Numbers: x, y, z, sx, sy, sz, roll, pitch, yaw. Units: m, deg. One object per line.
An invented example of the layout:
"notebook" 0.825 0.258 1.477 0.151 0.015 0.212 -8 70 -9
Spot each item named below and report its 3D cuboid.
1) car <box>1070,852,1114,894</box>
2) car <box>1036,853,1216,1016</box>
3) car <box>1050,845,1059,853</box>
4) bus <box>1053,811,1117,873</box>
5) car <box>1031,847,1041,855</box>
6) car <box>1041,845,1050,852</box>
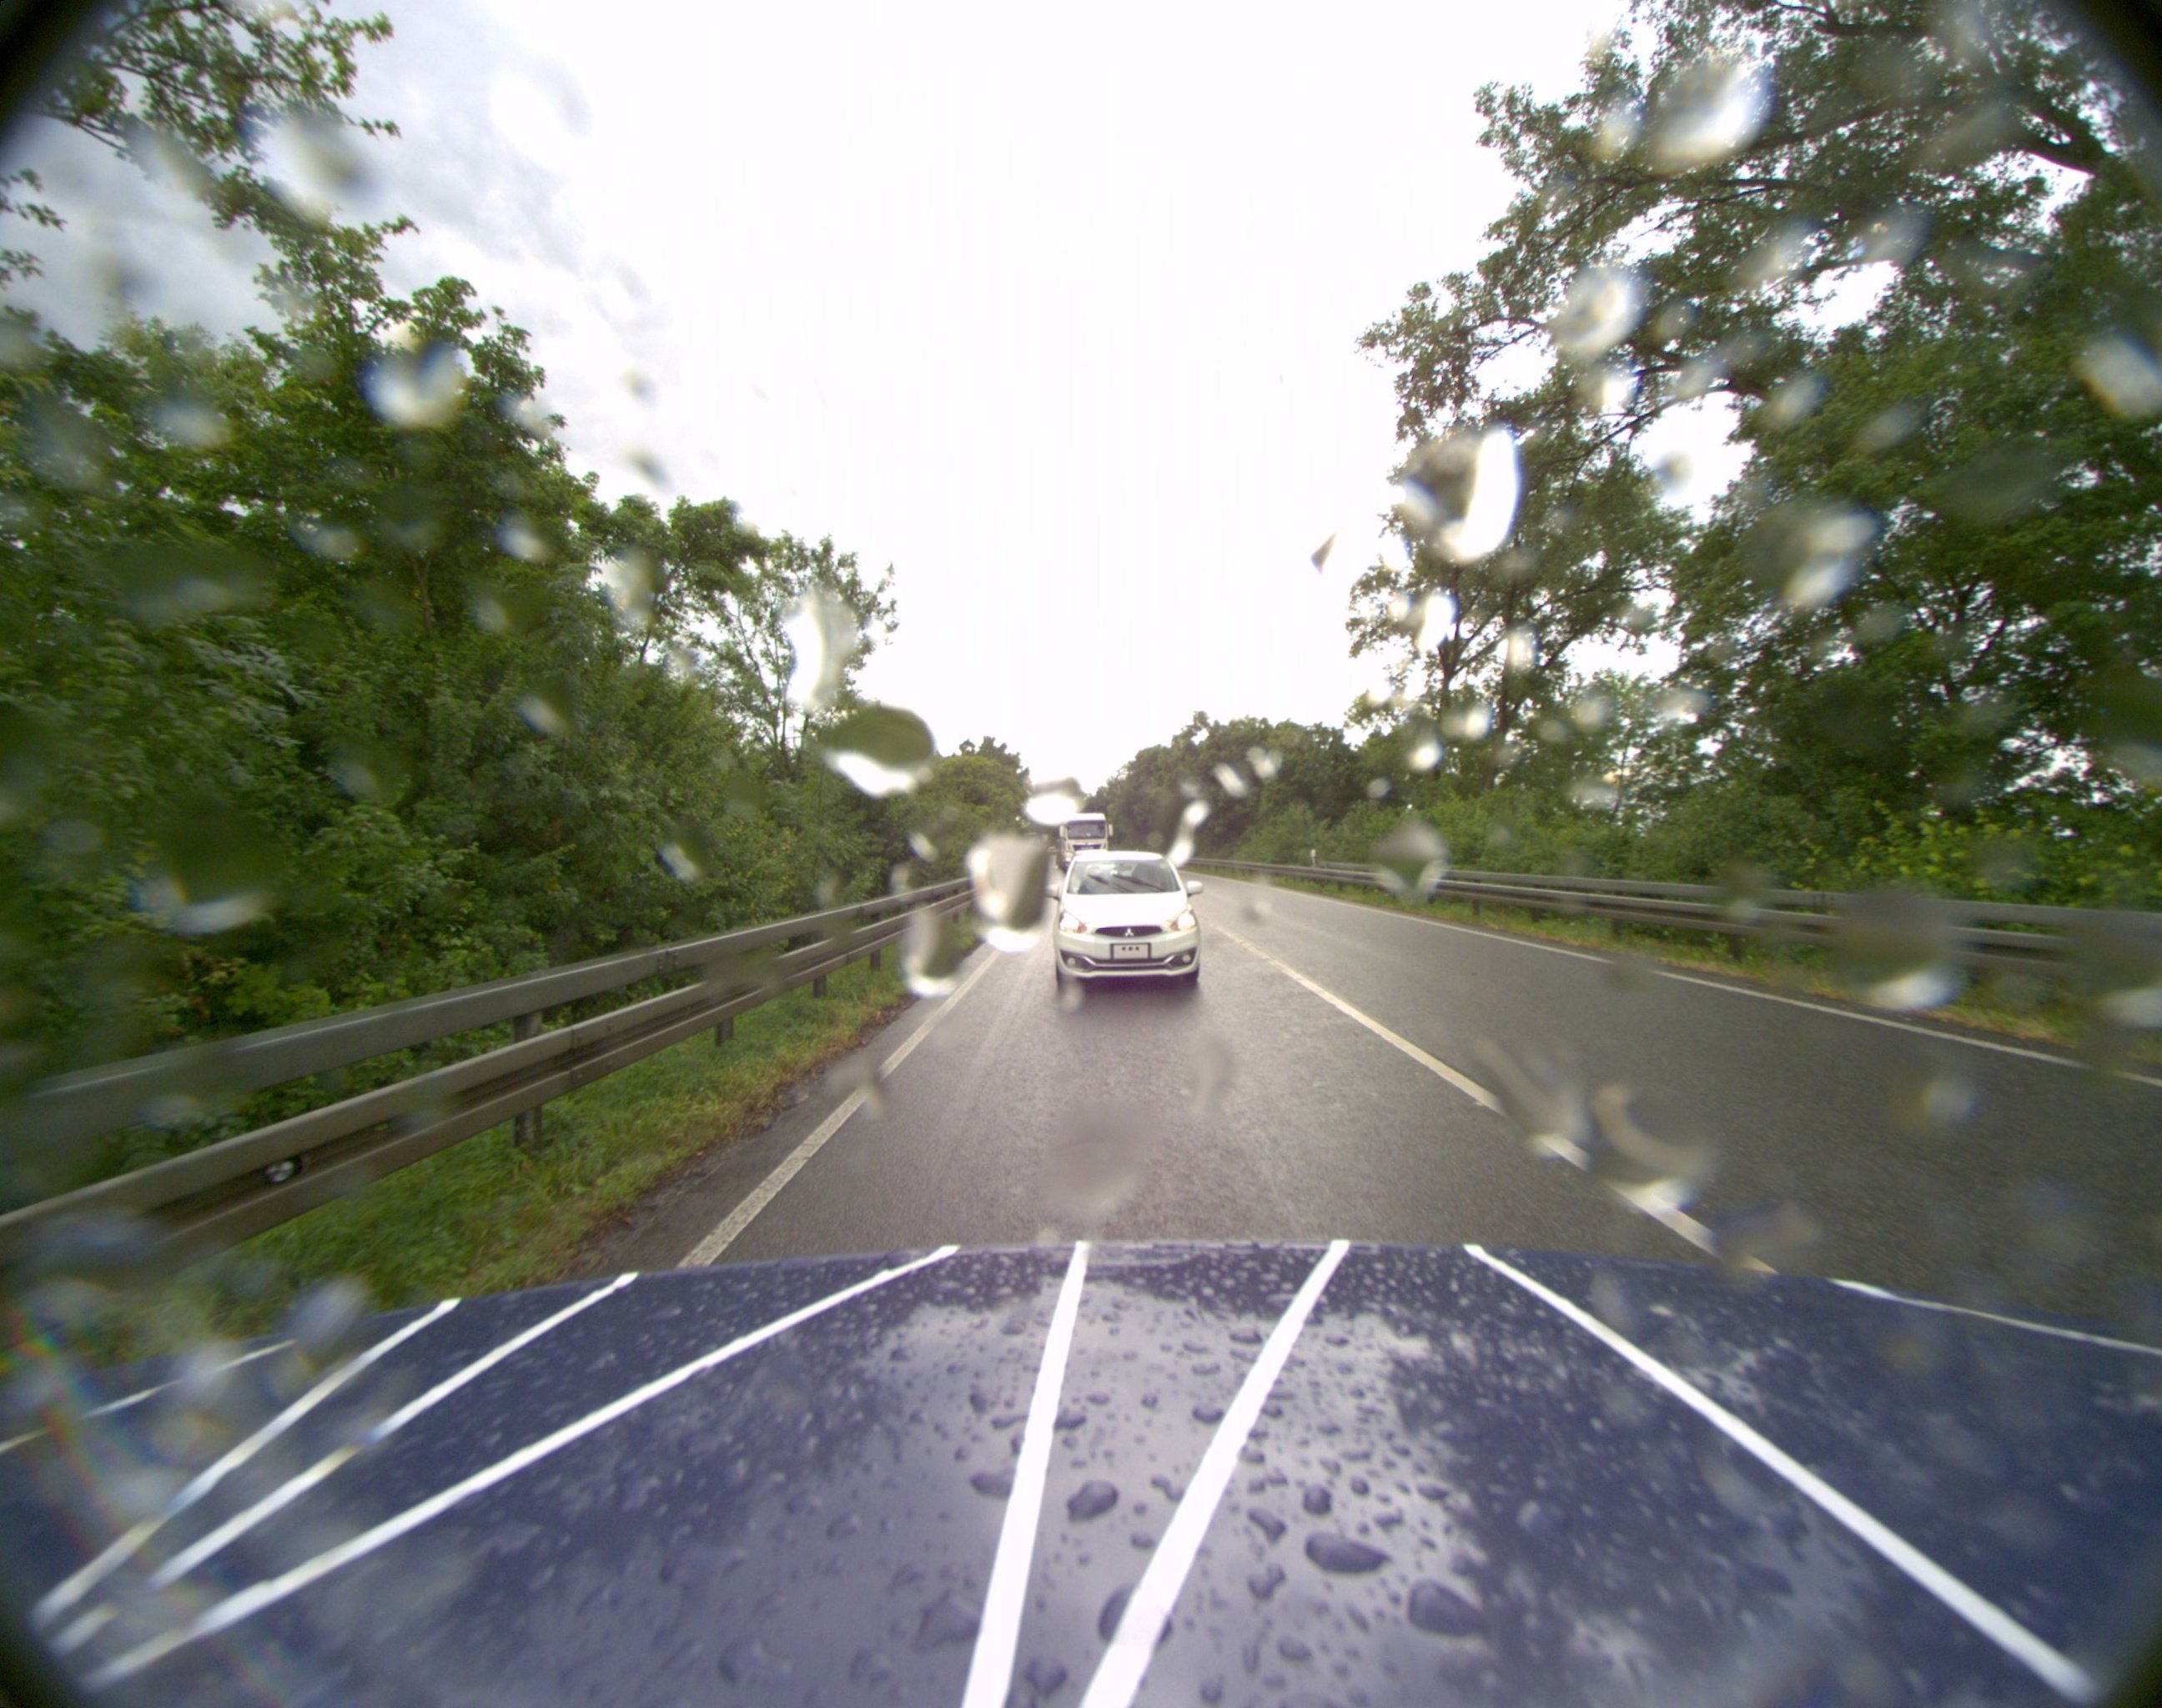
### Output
"car" 0.448 0.657 27.829 1.475 1.410 3.429 -1 0 2
"car" 0.473 0.780 9.362 1.700 1.471 4.062 -2 1 1
"car" -4.936 -0.907 140.547 1.246 1.281 2.880 -2 1 -10
"bus" -0.026 -0.756 49.608 3.064 3.405 13.633 -2 1 -4
"car" -8.539 -0.633 142.685 1.394 1.470 3.223 -1 1 -12
"car" -7.045 -1.071 152.155 1.377 1.281 3.249 -2 1 -10
